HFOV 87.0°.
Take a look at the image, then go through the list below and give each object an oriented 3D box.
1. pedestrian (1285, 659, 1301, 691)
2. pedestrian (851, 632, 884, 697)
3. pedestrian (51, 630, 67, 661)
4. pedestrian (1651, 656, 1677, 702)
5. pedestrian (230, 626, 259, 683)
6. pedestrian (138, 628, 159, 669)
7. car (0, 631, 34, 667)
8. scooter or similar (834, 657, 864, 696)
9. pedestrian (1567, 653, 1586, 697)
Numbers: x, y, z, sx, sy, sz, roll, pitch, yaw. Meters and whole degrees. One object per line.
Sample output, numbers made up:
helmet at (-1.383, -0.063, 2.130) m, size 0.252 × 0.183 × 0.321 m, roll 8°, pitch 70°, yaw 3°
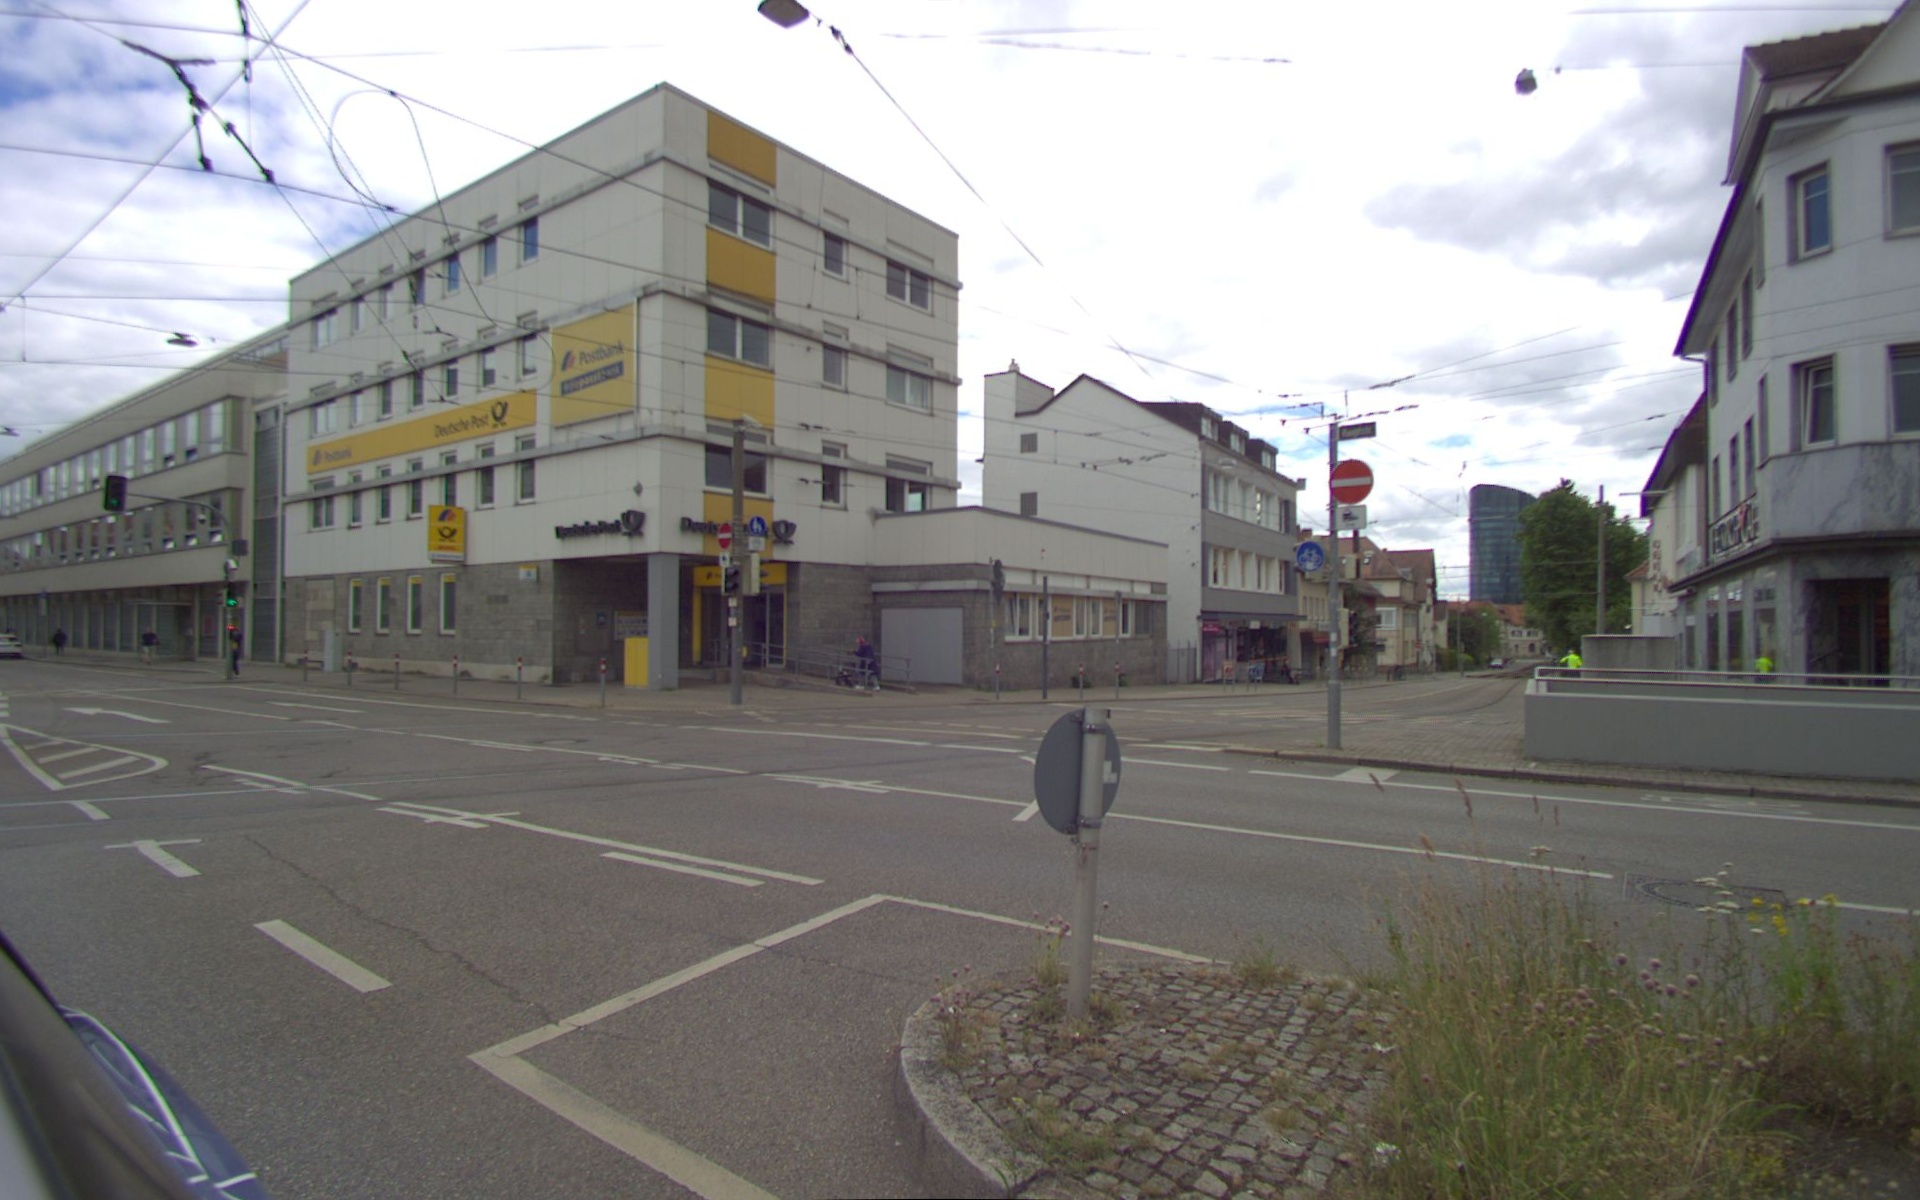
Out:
pedestrian at (17.897, 4.046, 54.436) m, size 0.613 × 1.647 × 0.688 m, roll -2°, pitch 0°, yaw 32°
pedestrian at (-2.392, 1.657, 26.186) m, size 0.614 × 1.647 × 0.580 m, roll -2°, pitch -3°, yaw 37°
pedestrian at (-54.240, 2.720, 60.931) m, size 0.525 × 1.816 × 0.580 m, roll -2°, pitch 0°, yaw 37°
pedestrian at (26.358, 2.959, 37.889) m, size 0.609 × 1.647 × 0.585 m, roll -2°, pitch 0°, yaw 16°
pedestrian at (-23.504, 1.792, 33.251) m, size 0.525 × 1.816 × 0.580 m, roll -2°, pitch 0°, yaw 37°
pedestrian at (-36.812, 2.184, 45.894) m, size 0.525 × 1.816 × 0.580 m, roll -2°, pitch 0°, yaw 37°
car at (-55.714, 2.835, 58.807) m, size 4.477 × 2.029 × 1.976 m, roll -2°, pitch -2°, yaw 36°
scooter or similar at (-2.911, 1.992, 26.541) m, size 0.616 × 0.984 × 0.502 m, roll -2°, pitch -2°, yaw 35°
pedestrian at (24.028, 2.905, 39.452) m, size 0.586 × 1.647 × 0.608 m, roll -2°, pitch 0°, yaw 32°
